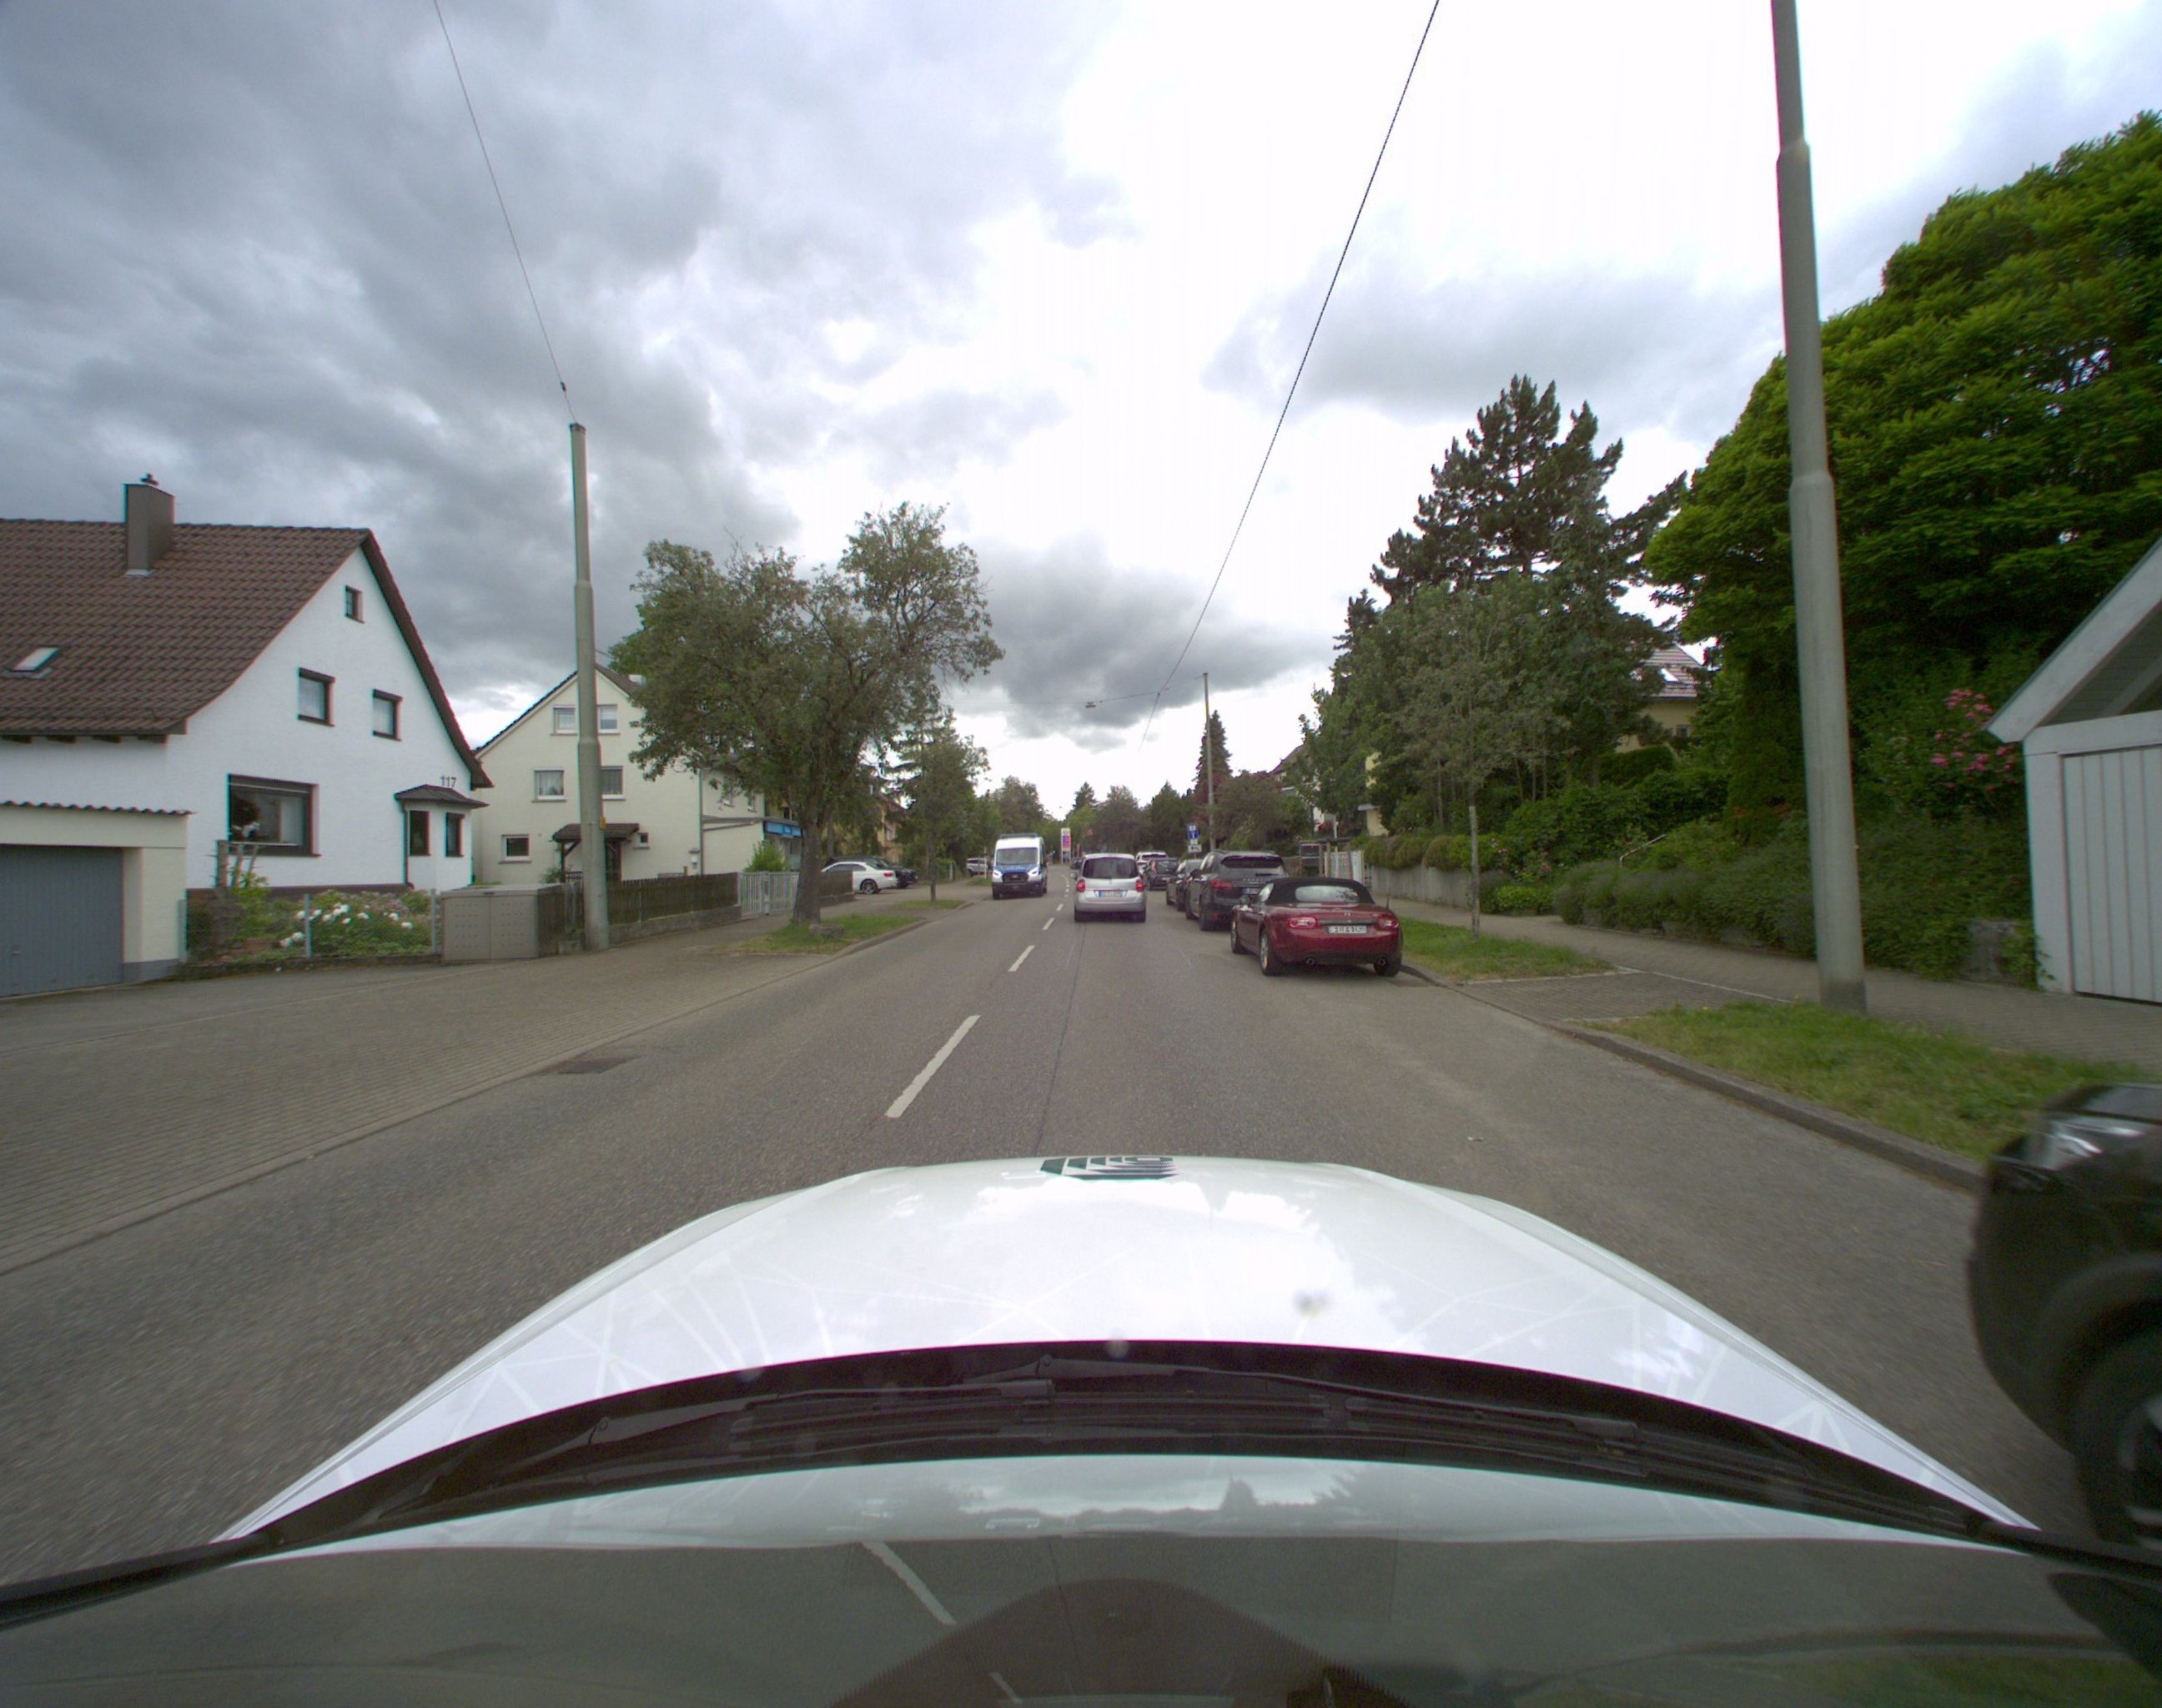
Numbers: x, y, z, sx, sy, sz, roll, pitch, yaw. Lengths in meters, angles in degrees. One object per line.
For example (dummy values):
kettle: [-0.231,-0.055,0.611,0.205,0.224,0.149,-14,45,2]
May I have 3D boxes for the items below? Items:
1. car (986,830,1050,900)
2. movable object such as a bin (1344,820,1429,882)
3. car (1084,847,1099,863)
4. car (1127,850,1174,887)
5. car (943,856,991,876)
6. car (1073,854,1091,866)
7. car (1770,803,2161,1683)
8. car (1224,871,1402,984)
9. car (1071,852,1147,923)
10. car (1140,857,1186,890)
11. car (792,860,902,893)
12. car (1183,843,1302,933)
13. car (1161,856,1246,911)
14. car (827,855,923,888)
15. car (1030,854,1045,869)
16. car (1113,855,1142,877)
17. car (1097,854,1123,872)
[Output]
car: [-2.519,0.424,34.016,2.066,2.582,5.300,-3,0,0]
movable object such as a bin: [10.093,-0.084,26.970,2.306,2.014,1.341,0,-1,-4]
car: [1.901,0.225,148.866,2.277,2.911,5.270,0,0,-5]
car: [3.512,0.699,41.872,1.795,1.778,4.700,0,0,-3]
car: [-10.165,1.087,72.900,4.074,1.706,1.747,-1,0,-1]
car: [0.115,0.798,103.581,1.694,1.506,3.963,-1,0,-7]
car: [2.787,0.709,0.303,1.681,1.609,4.110,0,0,1]
car: [3.079,0.906,11.552,1.476,1.236,3.885,1,0,1]
car: [0.689,0.749,19.794,1.673,1.560,3.514,0,0,2]
car: [3.653,0.846,36.812,1.554,1.443,3.503,0,0,-3]
car: [-10.103,0.959,35.383,4.272,1.368,1.812,1,-1,-6]
car: [3.372,0.654,17.846,1.823,1.712,4.551,0,0,2]
car: [3.482,0.794,23.907,1.824,1.457,4.550,0,0,0]
car: [-10.302,0.861,40.955,4.317,1.618,1.974,0,-1,1]
car: [-4.874,0.863,91.498,1.571,1.472,3.467,-4,0,-3]
car: [3.230,0.790,57.061,1.623,1.452,3.871,-1,0,-3]
car: [2.580,0.844,72.650,1.694,1.558,3.945,1,-1,-7]
